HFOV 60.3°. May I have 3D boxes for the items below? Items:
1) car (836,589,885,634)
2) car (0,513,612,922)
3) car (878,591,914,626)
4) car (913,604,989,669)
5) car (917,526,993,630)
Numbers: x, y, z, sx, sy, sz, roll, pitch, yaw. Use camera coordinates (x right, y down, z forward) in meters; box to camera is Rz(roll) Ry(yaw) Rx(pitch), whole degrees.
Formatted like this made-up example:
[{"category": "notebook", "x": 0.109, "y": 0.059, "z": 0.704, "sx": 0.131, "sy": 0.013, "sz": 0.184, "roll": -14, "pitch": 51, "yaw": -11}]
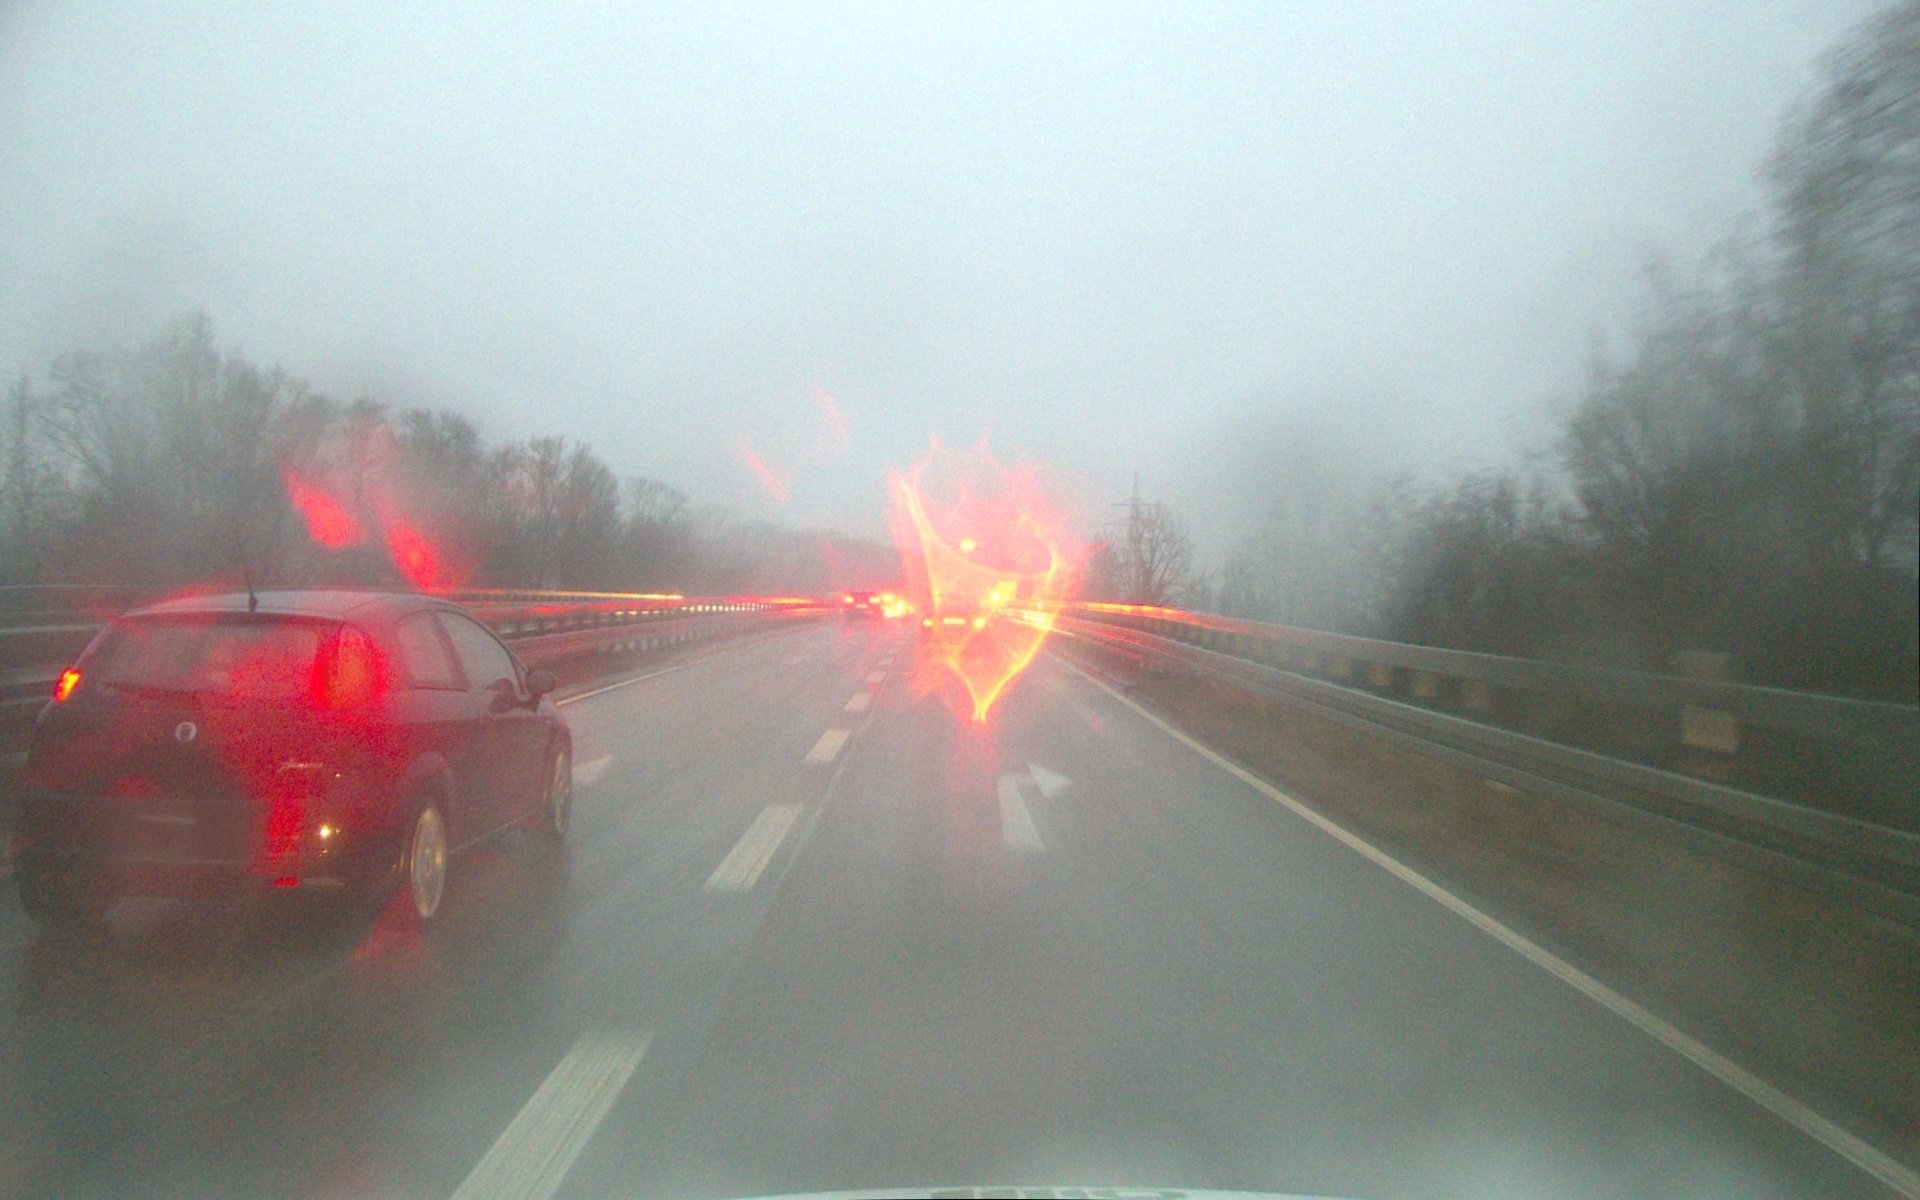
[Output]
[{"category": "car", "x": -4.423, "y": 0.499, "z": 74.007, "sx": 1.954, "sy": 1.846, "sz": 3.998, "roll": 3, "pitch": 0, "yaw": -2}, {"category": "car", "x": -3.070, "y": 0.511, "z": 8.404, "sx": 1.695, "sy": 1.560, "sz": 4.041, "roll": 1, "pitch": -2, "yaw": 0}, {"category": "car", "x": -3.632, "y": 0.445, "z": 93.600, "sx": 1.954, "sy": 1.743, "sz": 3.999, "roll": -2, "pitch": 2, "yaw": -2}, {"category": "car", "x": -0.188, "y": 0.876, "z": 40.998, "sx": 1.701, "sy": 1.439, "sz": 4.378, "roll": 3, "pitch": 0, "yaw": 1}, {"category": "car", "x": -0.177, "y": -0.595, "z": 51.521, "sx": 2.235, "sy": 3.018, "sz": 6.389, "roll": 0, "pitch": -1, "yaw": -1}]
